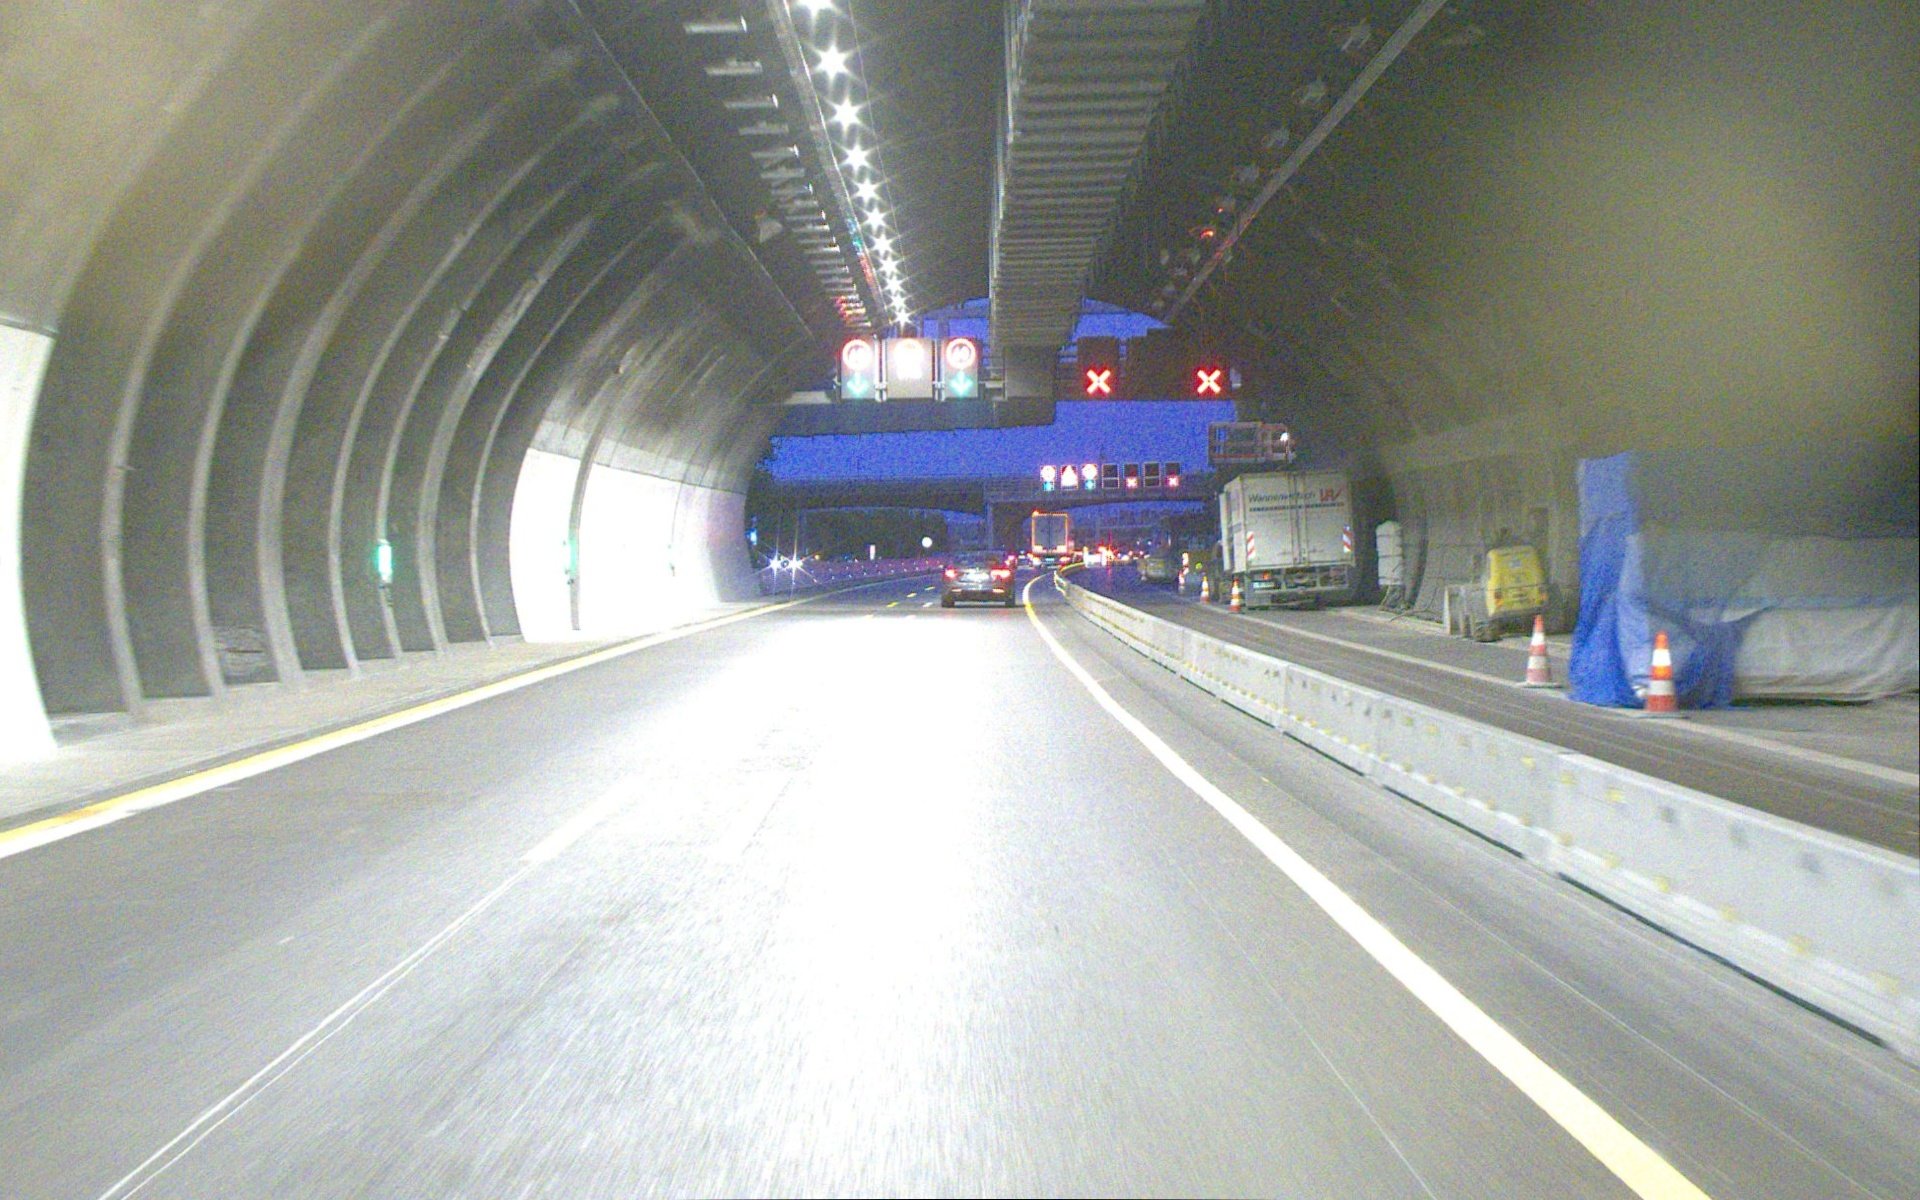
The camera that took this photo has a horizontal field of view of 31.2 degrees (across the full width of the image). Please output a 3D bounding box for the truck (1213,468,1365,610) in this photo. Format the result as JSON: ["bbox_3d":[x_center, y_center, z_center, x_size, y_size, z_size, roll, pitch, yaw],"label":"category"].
[{"bbox_3d":[7.871,-1.452,83.184,2.892,3.261,8.401,0,1,0],"label":"truck"}]

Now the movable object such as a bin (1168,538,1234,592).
[{"bbox_3d":[8.179,-1.194,116.780,1.978,1.809,3.836,0,1,0],"label":"movable object such as a bin"}]

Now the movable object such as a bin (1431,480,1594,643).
[{"bbox_3d":[8.691,-0.606,54.368,1.756,2.372,4.000,-3,1,0],"label":"movable object such as a bin"}]

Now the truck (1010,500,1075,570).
[{"bbox_3d":[5.890,-4.617,246.397,4.546,4.970,9.599,0,1,1],"label":"truck"}]

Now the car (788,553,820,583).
[{"bbox_3d":[-10.624,-2.188,234.534,1.993,2.007,4.000,0,1,0],"label":"car"}]

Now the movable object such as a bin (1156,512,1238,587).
[{"bbox_3d":[8.884,-1.883,129.465,2.737,2.744,7.049,0,1,1],"label":"movable object such as a bin"}]

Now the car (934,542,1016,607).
[{"bbox_3d":[0.353,-0.653,87.663,1.887,1.601,4.000,0,1,-3],"label":"car"}]

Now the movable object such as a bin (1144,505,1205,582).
[{"bbox_3d":[10.517,-2.752,168.831,2.737,3.666,6.333,0,1,1],"label":"movable object such as a bin"}]

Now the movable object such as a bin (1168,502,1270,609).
[{"bbox_3d":[6.945,-1.199,92.938,2.238,2.784,7.233,0,1,0],"label":"movable object such as a bin"}]

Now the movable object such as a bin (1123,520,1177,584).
[{"bbox_3d":[10.355,-2.619,188.001,2.737,3.443,6.946,0,1,1],"label":"movable object such as a bin"}]

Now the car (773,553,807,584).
[{"bbox_3d":[-11.108,-2.084,224.445,1.993,2.007,4.000,0,1,0],"label":"car"}]

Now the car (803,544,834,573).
[{"bbox_3d":[-9.939,-2.916,241.448,1.993,2.007,4.000,0,1,0],"label":"car"}]
